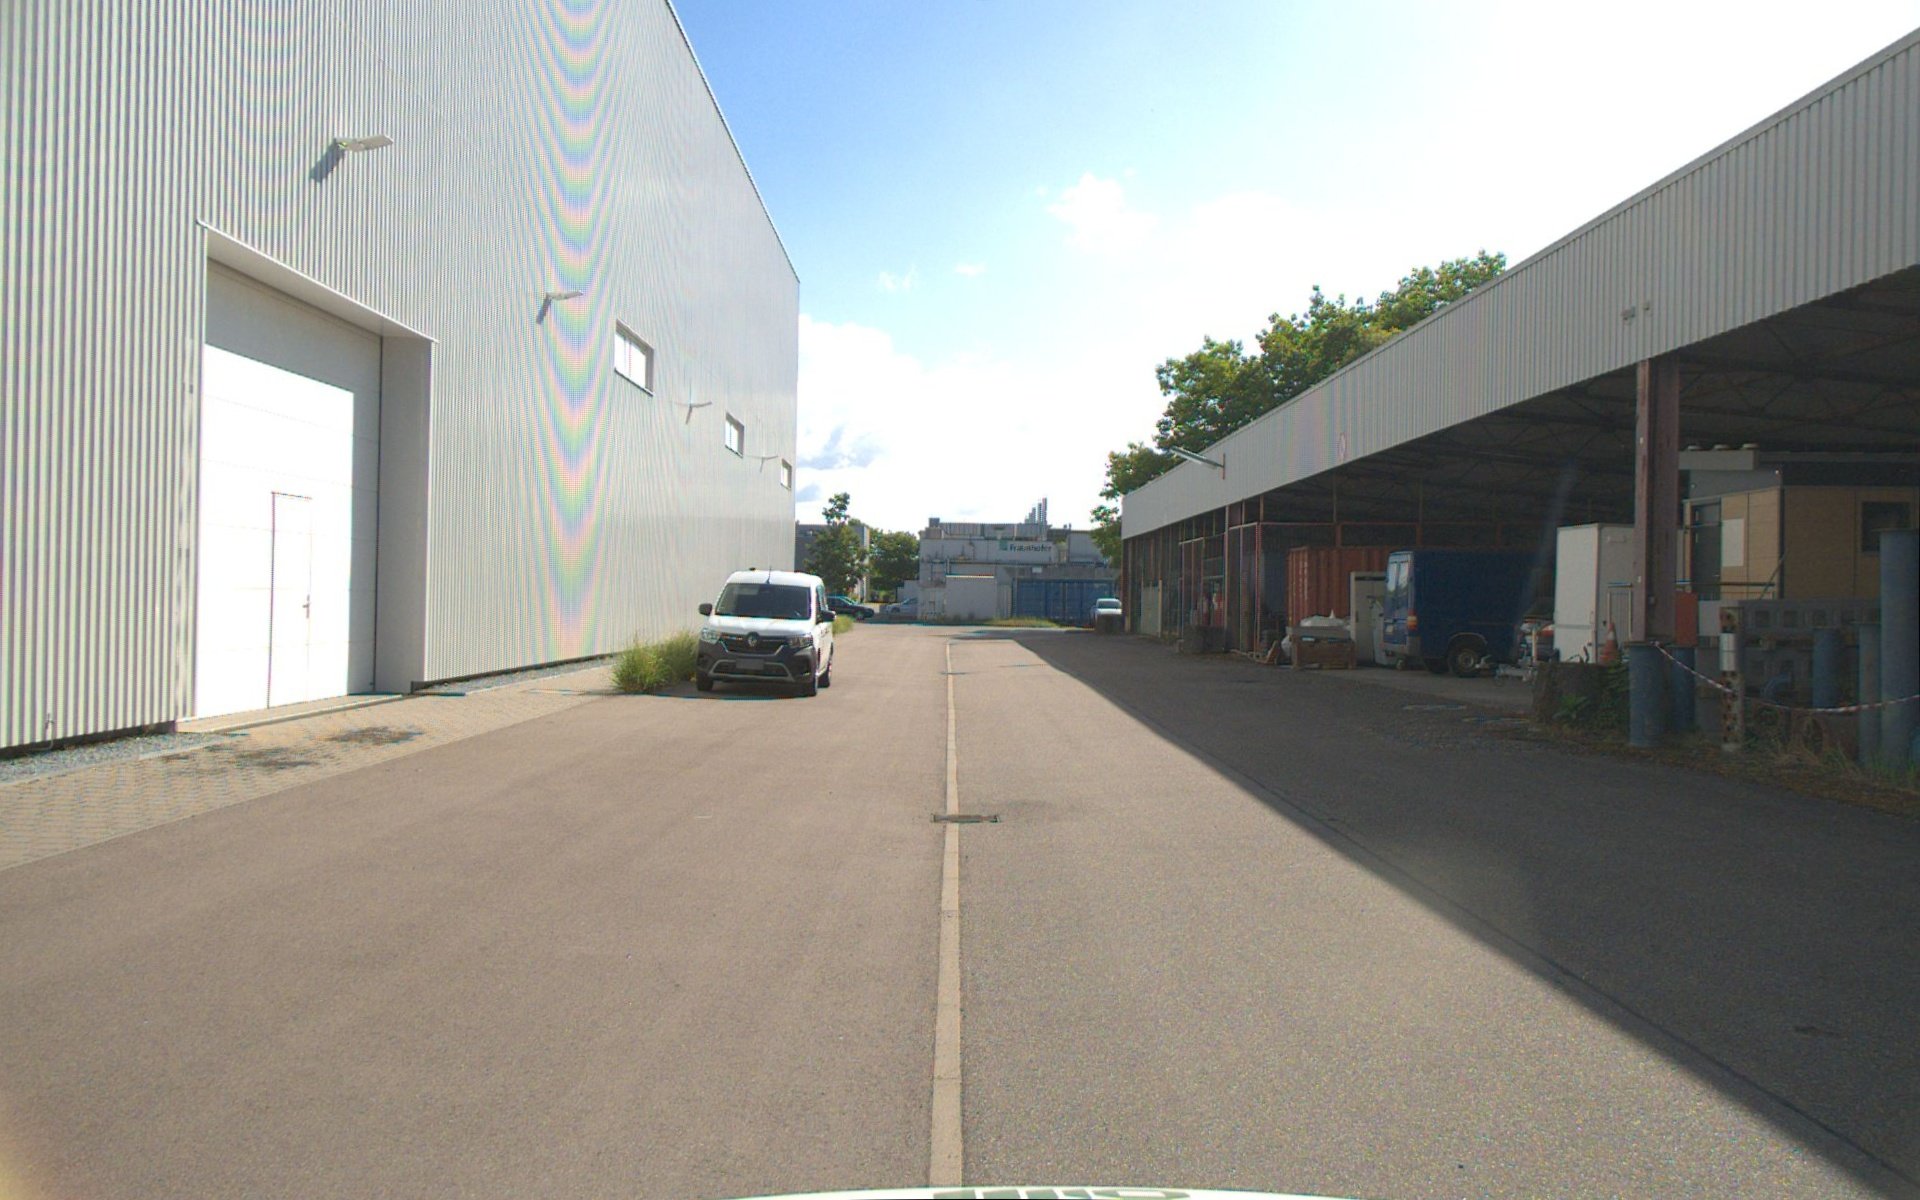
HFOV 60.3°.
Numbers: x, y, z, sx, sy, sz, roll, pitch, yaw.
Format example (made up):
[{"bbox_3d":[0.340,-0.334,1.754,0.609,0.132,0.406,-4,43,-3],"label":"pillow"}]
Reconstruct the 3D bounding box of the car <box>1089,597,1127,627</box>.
[{"bbox_3d":[8.512,0.689,95.427,1.921,1.592,4.060,2,1,1],"label":"car"}]

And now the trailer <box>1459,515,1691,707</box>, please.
[{"bbox_3d":[8.187,0.156,22.168,2.472,2.441,1.727,1,-1,0],"label":"trailer"}]

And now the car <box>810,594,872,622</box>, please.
[{"bbox_3d":[-7.748,0.527,107.663,3.906,1.626,1.741,2,-2,-2],"label":"car"}]

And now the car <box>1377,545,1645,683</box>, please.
[{"bbox_3d":[10.251,0.284,30.977,4.342,2.350,1.915,2,-2,0],"label":"car"}]

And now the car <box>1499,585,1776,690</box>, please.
[{"bbox_3d":[11.356,0.640,27.891,3.955,1.551,1.684,2,-2,0],"label":"car"}]

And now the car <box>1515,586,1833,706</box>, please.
[{"bbox_3d":[10.476,0.685,24.457,3.955,1.551,1.684,2,-2,0],"label":"car"}]

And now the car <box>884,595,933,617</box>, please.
[{"bbox_3d":[-4.213,0.483,135.583,3.906,1.626,1.847,2,-2,-2],"label":"car"}]

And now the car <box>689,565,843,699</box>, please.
[{"bbox_3d":[-2.894,0.443,25.503,1.781,1.818,4.405,2,0,0],"label":"car"}]
